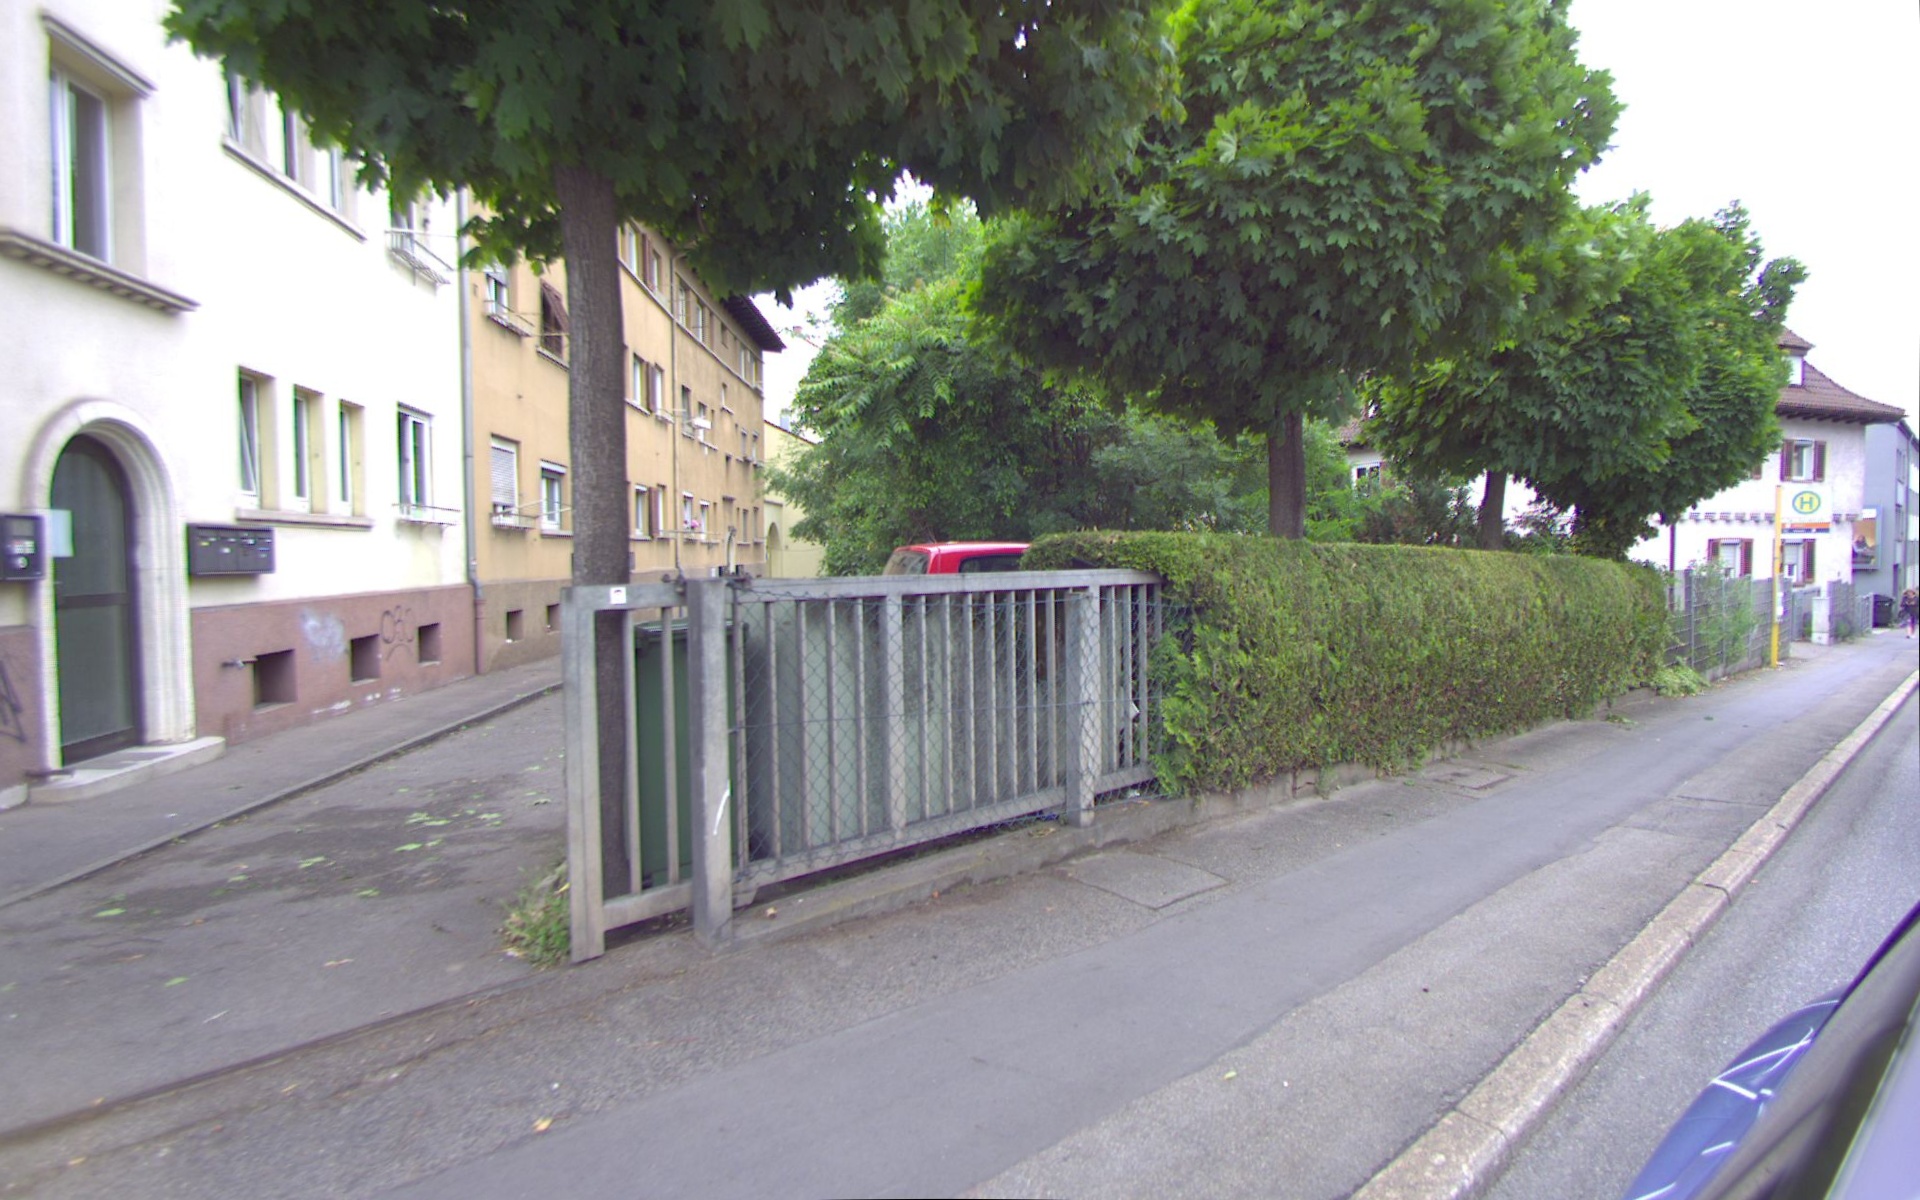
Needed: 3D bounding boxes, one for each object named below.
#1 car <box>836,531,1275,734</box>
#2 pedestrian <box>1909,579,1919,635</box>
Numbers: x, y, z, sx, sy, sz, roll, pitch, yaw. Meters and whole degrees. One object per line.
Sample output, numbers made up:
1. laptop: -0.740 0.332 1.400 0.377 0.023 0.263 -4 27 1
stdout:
1. car: 0.776 0.208 8.739 3.367 1.478 1.705 -1 1 -20
2. pedestrian: 32.505 0.232 34.041 0.580 1.863 0.649 0 1 -21
